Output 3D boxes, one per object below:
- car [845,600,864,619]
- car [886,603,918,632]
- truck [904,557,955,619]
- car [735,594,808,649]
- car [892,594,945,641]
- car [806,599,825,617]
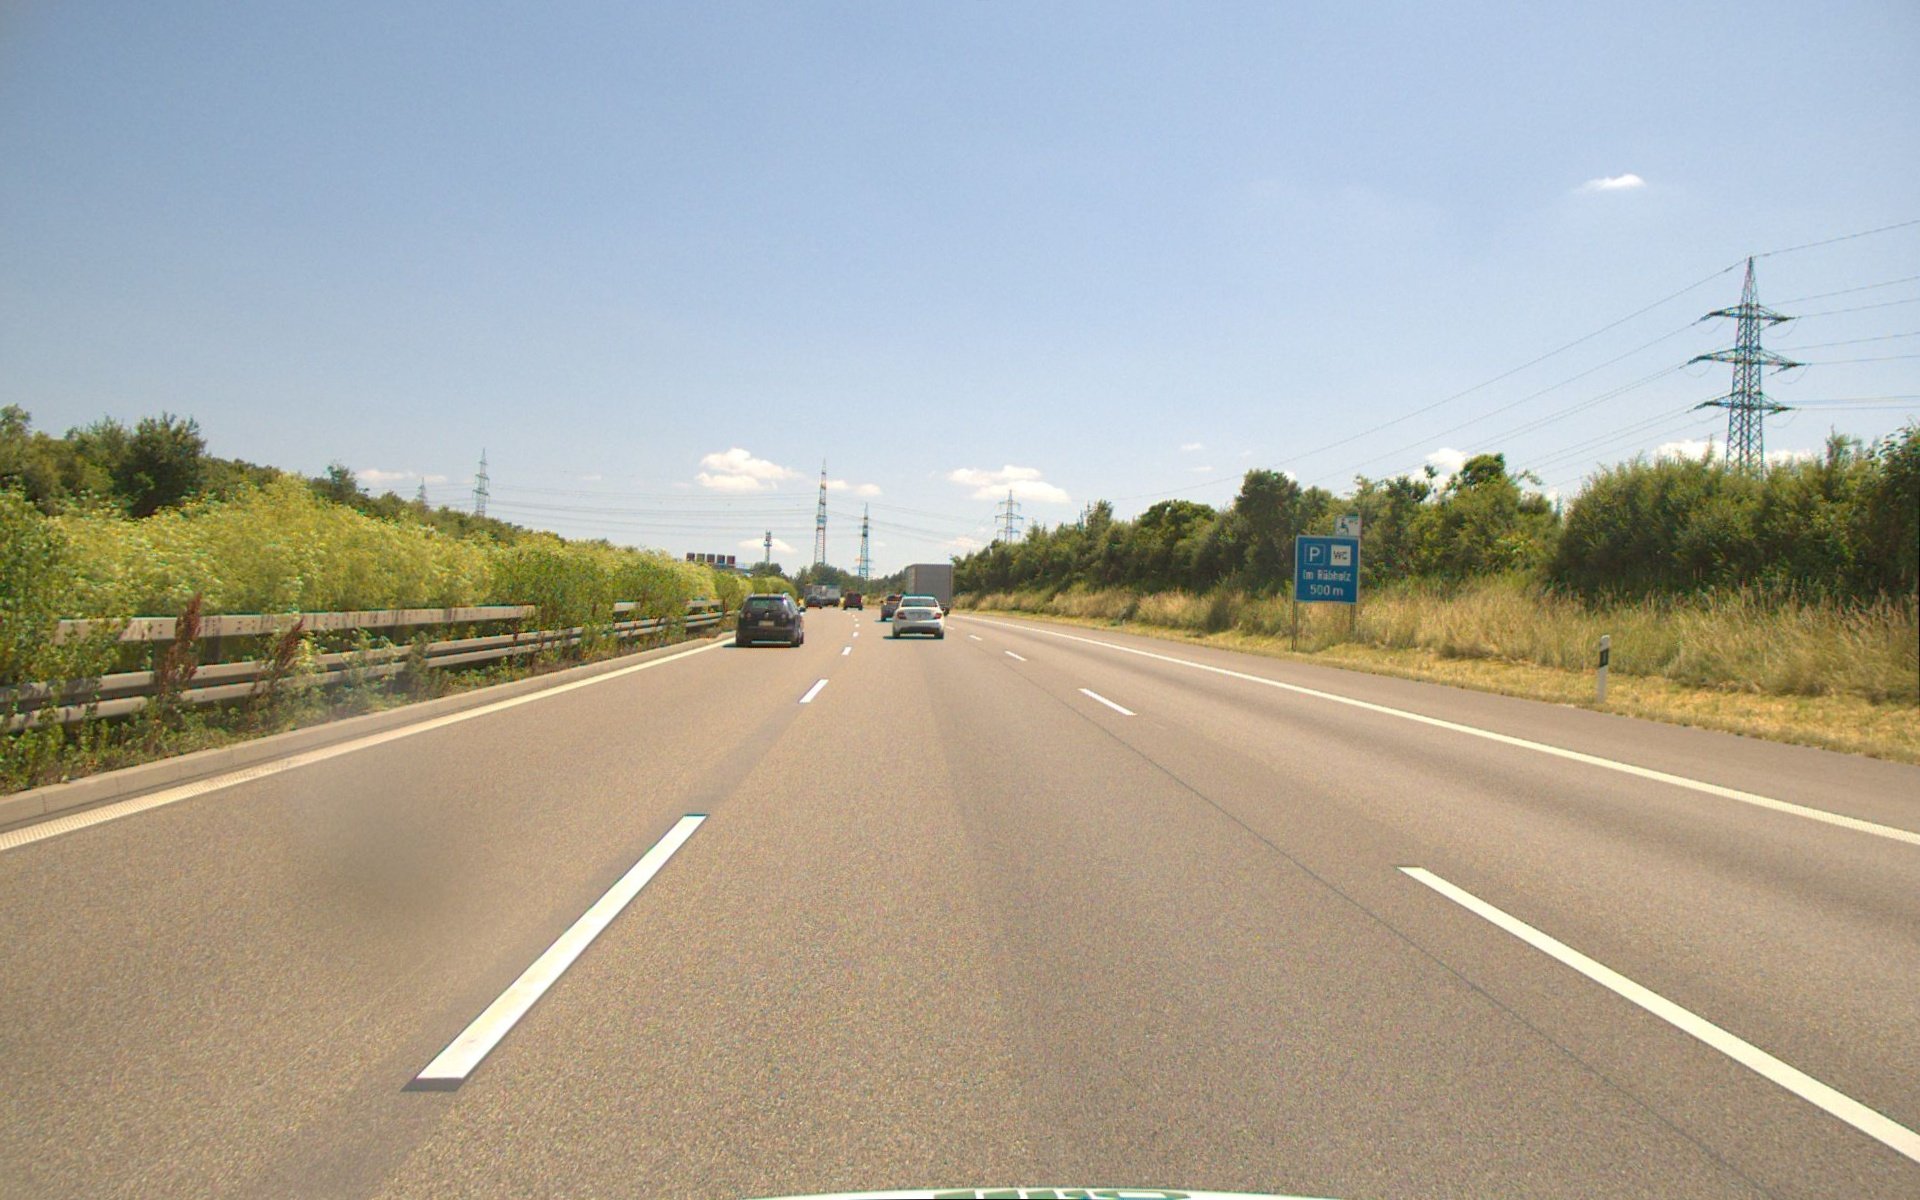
[{"bbox_3d":[-10.960,0.963,171.270,1.864,1.959,3.996,1,0,-5],"label":"car"},{"bbox_3d":[-3.346,0.994,95.050,1.802,1.567,3.913,1,0,-2],"label":"car"},{"bbox_3d":[-2.156,-0.734,113.187,3.157,3.993,9.054,1,-1,-3],"label":"truck"},{"bbox_3d":[-5.269,0.570,46.629,1.721,1.454,3.998,1,0,-2],"label":"car"},{"bbox_3d":[-1.468,0.579,57.742,1.783,1.567,3.913,1,0,-2],"label":"car"},{"bbox_3d":[-15.729,0.906,179.955,1.954,1.892,3.998,1,0,-3],"label":"car"}]
